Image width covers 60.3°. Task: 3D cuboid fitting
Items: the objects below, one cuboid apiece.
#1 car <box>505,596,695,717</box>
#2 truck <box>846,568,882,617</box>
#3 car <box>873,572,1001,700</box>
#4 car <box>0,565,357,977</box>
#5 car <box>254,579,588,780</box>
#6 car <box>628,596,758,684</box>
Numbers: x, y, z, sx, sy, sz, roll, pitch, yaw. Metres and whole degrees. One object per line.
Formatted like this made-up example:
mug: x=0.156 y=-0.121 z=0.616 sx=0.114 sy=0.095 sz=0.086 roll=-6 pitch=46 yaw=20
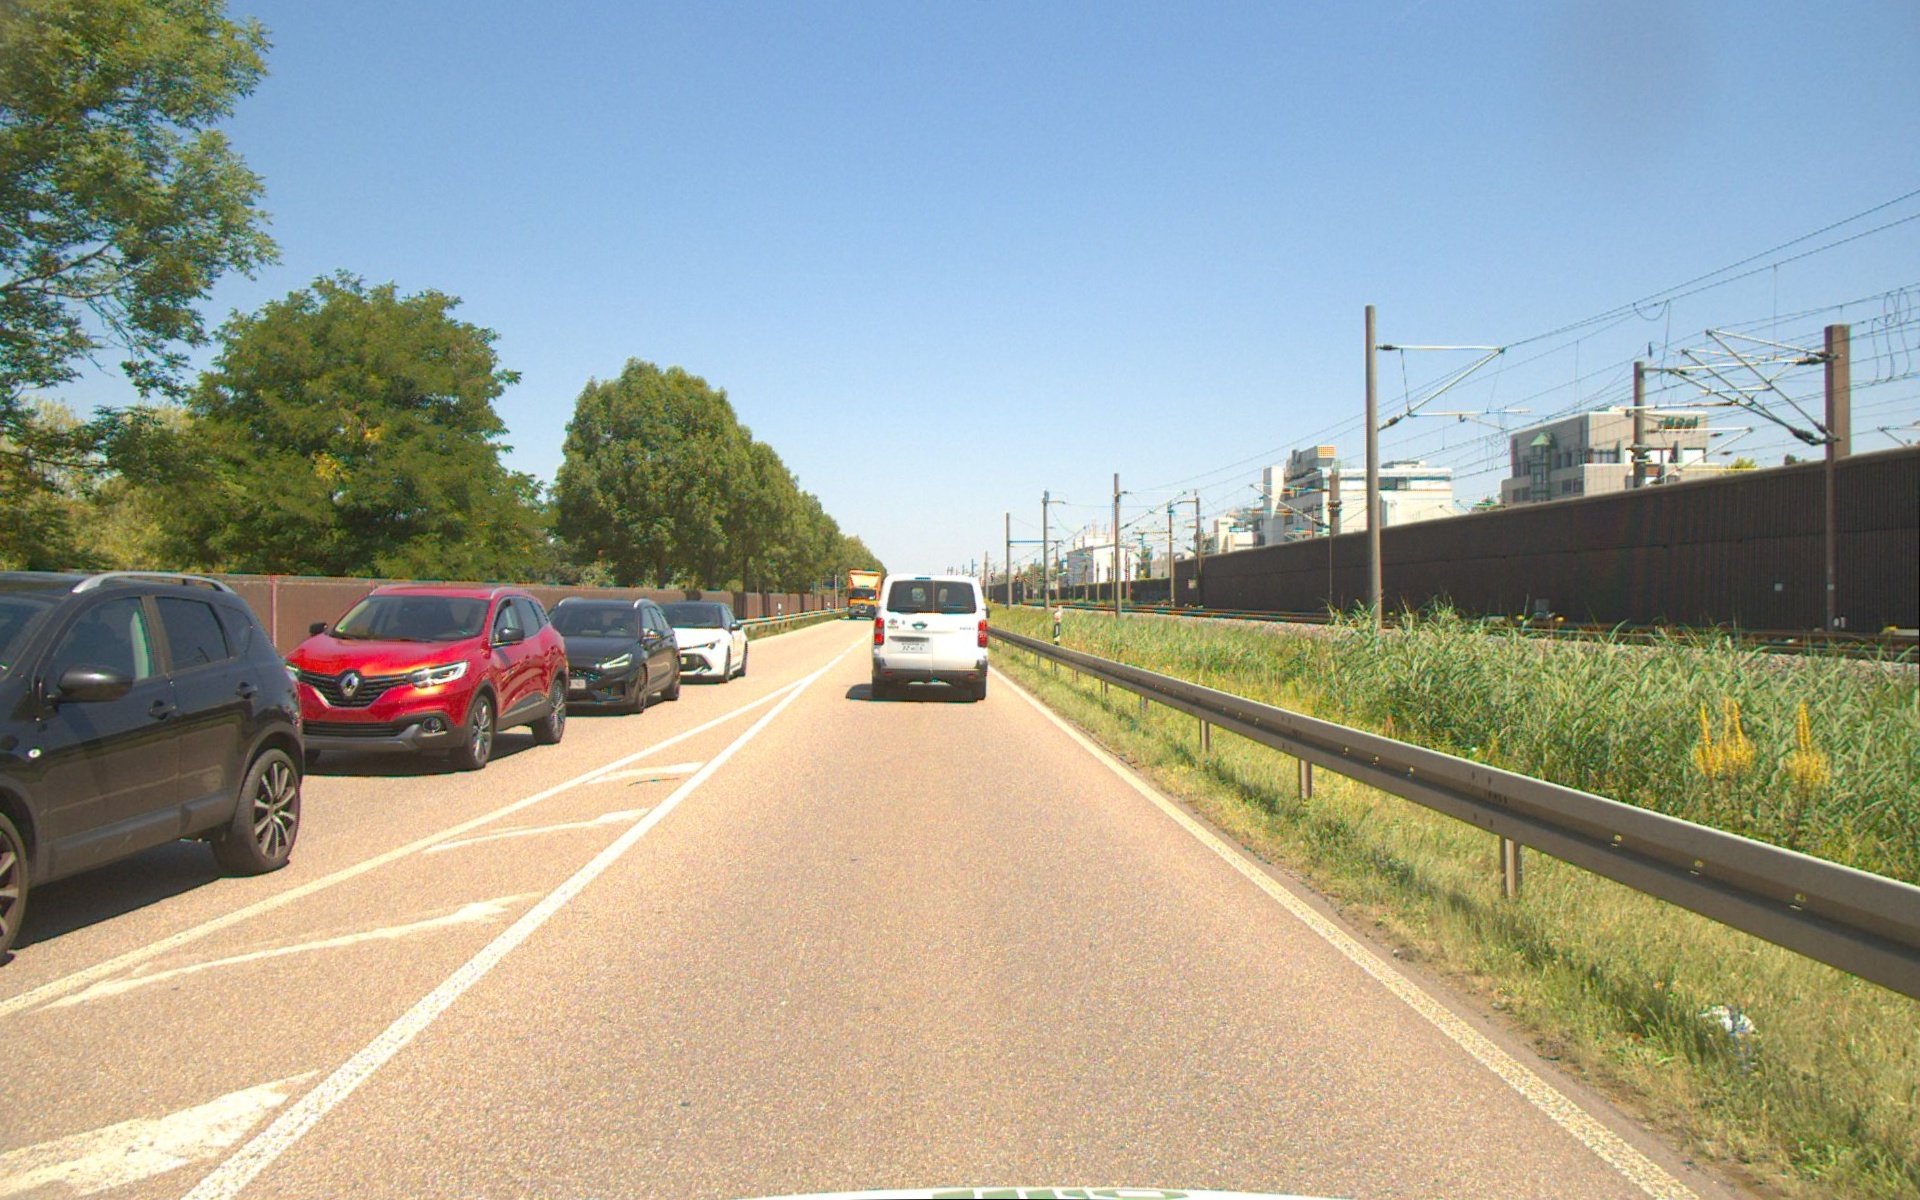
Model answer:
car: x=-4.913 y=0.714 z=23.173 sx=1.651 sy=1.485 sz=4.615 roll=1 pitch=0 yaw=0
truck: x=-7.973 y=-0.597 z=137.947 sx=2.736 sy=3.907 sz=9.320 roll=0 pitch=0 yaw=-2
car: x=-0.426 y=0.551 z=27.370 sx=1.906 sy=1.914 sz=4.879 roll=0 pitch=0 yaw=-2
car: x=-4.563 y=0.660 z=7.754 sx=1.681 sy=1.617 sz=4.535 roll=1 pitch=0 yaw=2
car: x=-4.989 y=0.654 z=15.963 sx=1.719 sy=1.660 sz=4.280 roll=1 pitch=0 yaw=1
car: x=-4.881 y=0.695 z=30.794 sx=1.651 sy=1.485 sz=4.615 roll=1 pitch=0 yaw=0
